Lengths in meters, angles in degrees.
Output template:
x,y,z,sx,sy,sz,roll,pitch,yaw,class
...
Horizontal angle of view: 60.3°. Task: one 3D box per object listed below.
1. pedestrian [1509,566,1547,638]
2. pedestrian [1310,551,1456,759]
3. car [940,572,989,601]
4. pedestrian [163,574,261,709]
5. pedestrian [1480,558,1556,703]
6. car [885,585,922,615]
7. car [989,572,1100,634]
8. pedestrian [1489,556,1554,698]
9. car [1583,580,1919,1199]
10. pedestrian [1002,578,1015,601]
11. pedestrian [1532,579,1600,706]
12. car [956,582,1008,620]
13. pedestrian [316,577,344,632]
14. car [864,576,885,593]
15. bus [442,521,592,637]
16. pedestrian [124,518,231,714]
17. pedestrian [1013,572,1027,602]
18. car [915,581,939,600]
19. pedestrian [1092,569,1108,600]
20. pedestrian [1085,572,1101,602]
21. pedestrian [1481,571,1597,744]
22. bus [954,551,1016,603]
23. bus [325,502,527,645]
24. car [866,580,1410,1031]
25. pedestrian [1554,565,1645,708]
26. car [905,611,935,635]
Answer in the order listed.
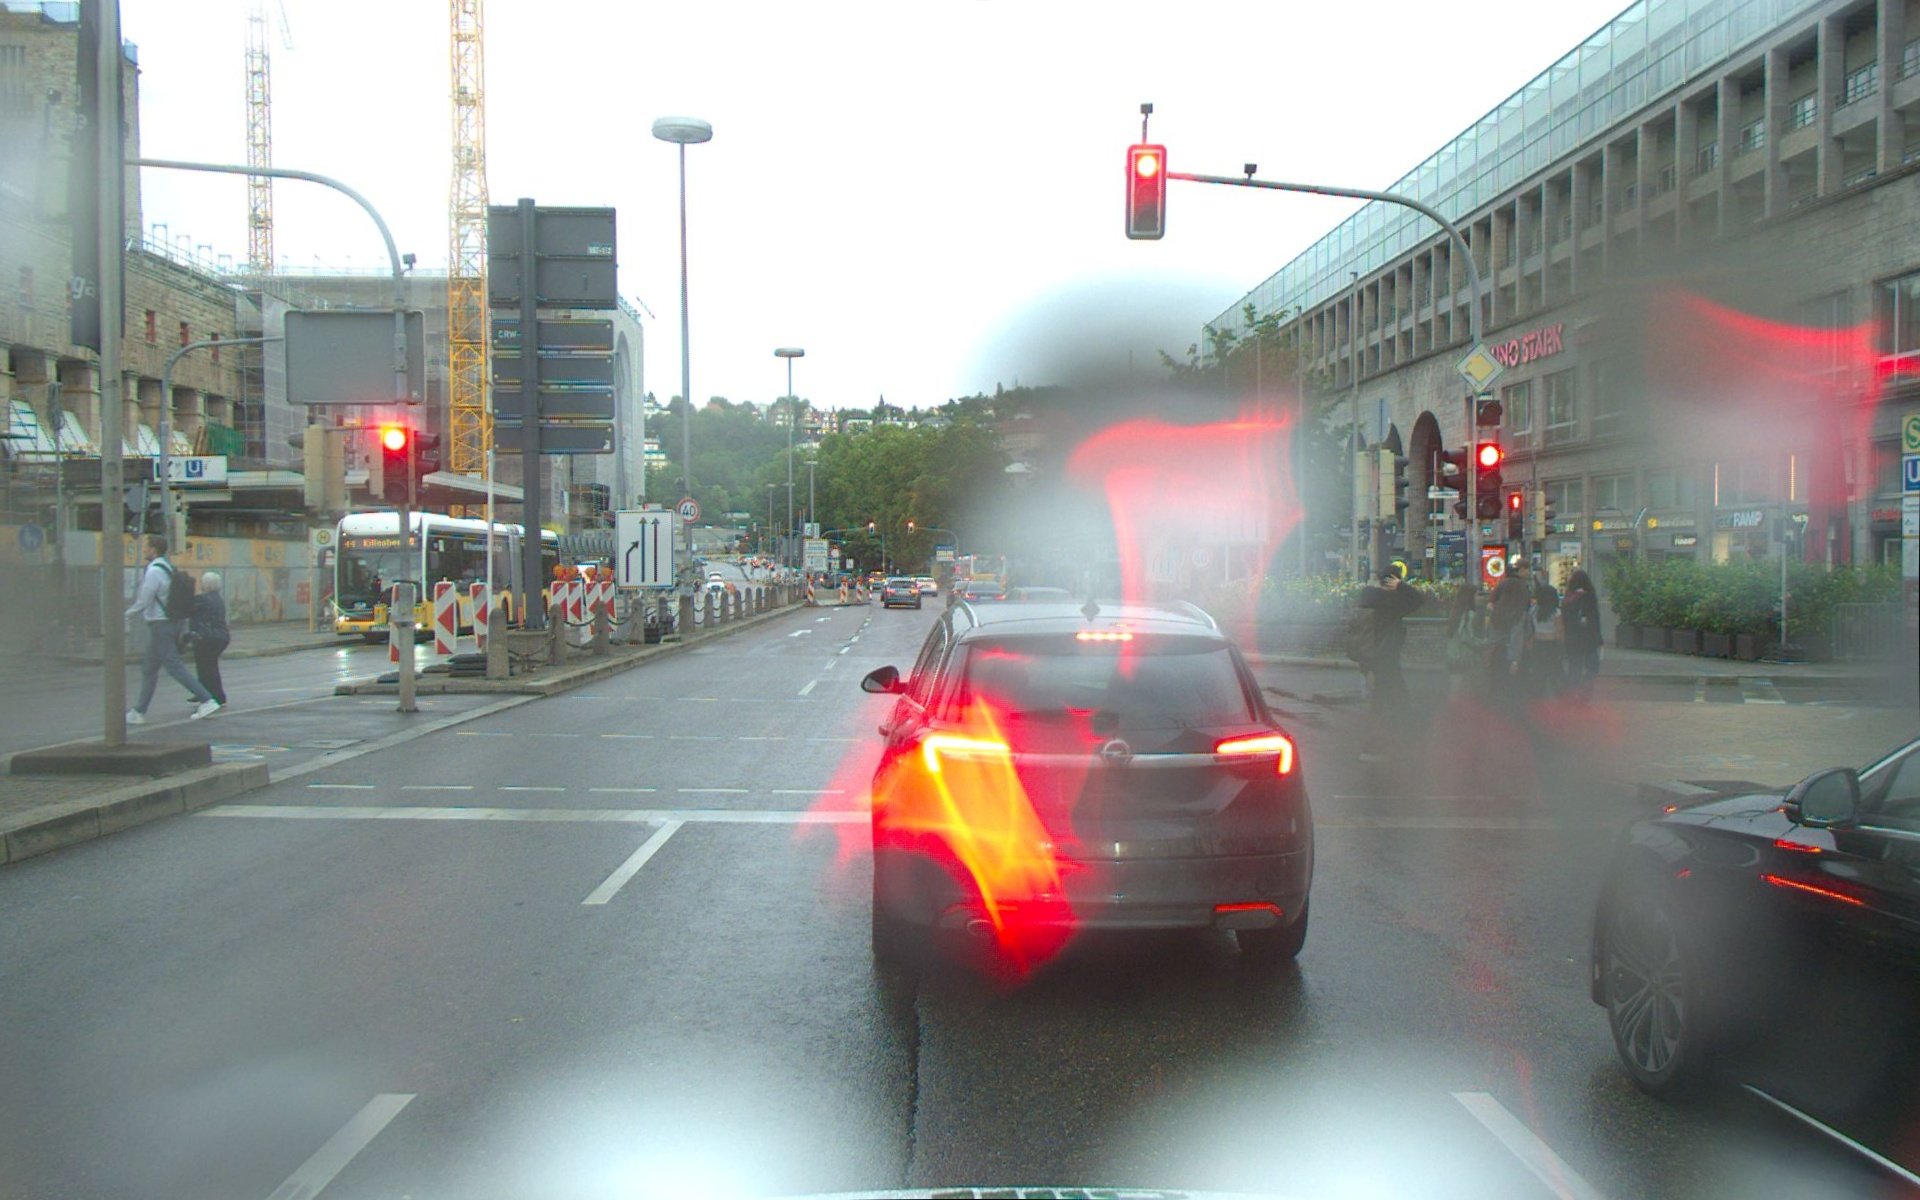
x,y,z,sx,sy,sz,roll,pitch,yaw,class
16.389,0.058,47.722,0.751,2.049,0.820,1,0,41,pedestrian
3.783,0.482,14.840,1.074,1.782,0.653,-2,0,-4,pedestrian
0.205,-0.662,83.744,1.721,1.422,4.391,1,0,-10,car
-9.035,0.489,20.003,0.856,1.588,0.785,1,0,-8,pedestrian
6.882,0.374,20.411,0.740,1.747,0.466,1,0,-5,pedestrian
-2.796,0.010,81.542,1.718,1.422,4.536,1,0,-2,car
2.015,0.070,40.419,1.813,1.422,3.655,1,0,-12,car
7.231,0.340,21.289,0.560,1.783,0.676,1,0,42,pedestrian
3.029,0.735,3.238,1.757,1.528,4.627,1,0,-2,car
4.475,-0.966,152.900,1.174,2.186,1.228,1,0,0,pedestrian
7.294,0.505,19.919,0.665,1.500,0.366,1,0,-6,pedestrian
0.850,0.046,66.692,1.718,1.422,4.645,1,0,-3,car
-21.752,0.137,57.131,0.648,1.887,0.798,0,0,-1,pedestrian
-7.715,-1.393,149.798,1.723,1.422,3.563,1,0,-1,car
-15.372,-0.676,58.302,2.614,3.665,10.209,1,0,-1,bus
-7.855,0.162,16.629,0.784,1.923,0.619,1,0,-9,pedestrian
5.042,-1.057,139.093,1.174,2.478,1.228,1,0,0,pedestrian
-2.515,-0.722,127.562,1.808,1.422,3.563,1,0,-1,car
8.005,-0.882,94.326,0.748,1.720,0.824,1,0,-5,pedestrian
7.673,-0.765,95.471,0.748,1.720,0.824,1,0,-5,pedestrian
5.726,0.560,16.407,0.778,1.654,0.899,1,0,-4,pedestrian
1.692,-1.577,120.919,4.089,3.529,14.651,1,0,-1,bus
-15.213,-0.684,48.120,2.614,3.665,10.237,1,0,-1,bus
0.568,0.706,7.636,1.837,1.512,3.999,1,0,-1,car
7.500,0.420,19.422,0.783,1.636,0.619,1,0,-5,pedestrian
-2.459,1.437,103.422,1.808,1.422,3.563,1,0,-1,car
